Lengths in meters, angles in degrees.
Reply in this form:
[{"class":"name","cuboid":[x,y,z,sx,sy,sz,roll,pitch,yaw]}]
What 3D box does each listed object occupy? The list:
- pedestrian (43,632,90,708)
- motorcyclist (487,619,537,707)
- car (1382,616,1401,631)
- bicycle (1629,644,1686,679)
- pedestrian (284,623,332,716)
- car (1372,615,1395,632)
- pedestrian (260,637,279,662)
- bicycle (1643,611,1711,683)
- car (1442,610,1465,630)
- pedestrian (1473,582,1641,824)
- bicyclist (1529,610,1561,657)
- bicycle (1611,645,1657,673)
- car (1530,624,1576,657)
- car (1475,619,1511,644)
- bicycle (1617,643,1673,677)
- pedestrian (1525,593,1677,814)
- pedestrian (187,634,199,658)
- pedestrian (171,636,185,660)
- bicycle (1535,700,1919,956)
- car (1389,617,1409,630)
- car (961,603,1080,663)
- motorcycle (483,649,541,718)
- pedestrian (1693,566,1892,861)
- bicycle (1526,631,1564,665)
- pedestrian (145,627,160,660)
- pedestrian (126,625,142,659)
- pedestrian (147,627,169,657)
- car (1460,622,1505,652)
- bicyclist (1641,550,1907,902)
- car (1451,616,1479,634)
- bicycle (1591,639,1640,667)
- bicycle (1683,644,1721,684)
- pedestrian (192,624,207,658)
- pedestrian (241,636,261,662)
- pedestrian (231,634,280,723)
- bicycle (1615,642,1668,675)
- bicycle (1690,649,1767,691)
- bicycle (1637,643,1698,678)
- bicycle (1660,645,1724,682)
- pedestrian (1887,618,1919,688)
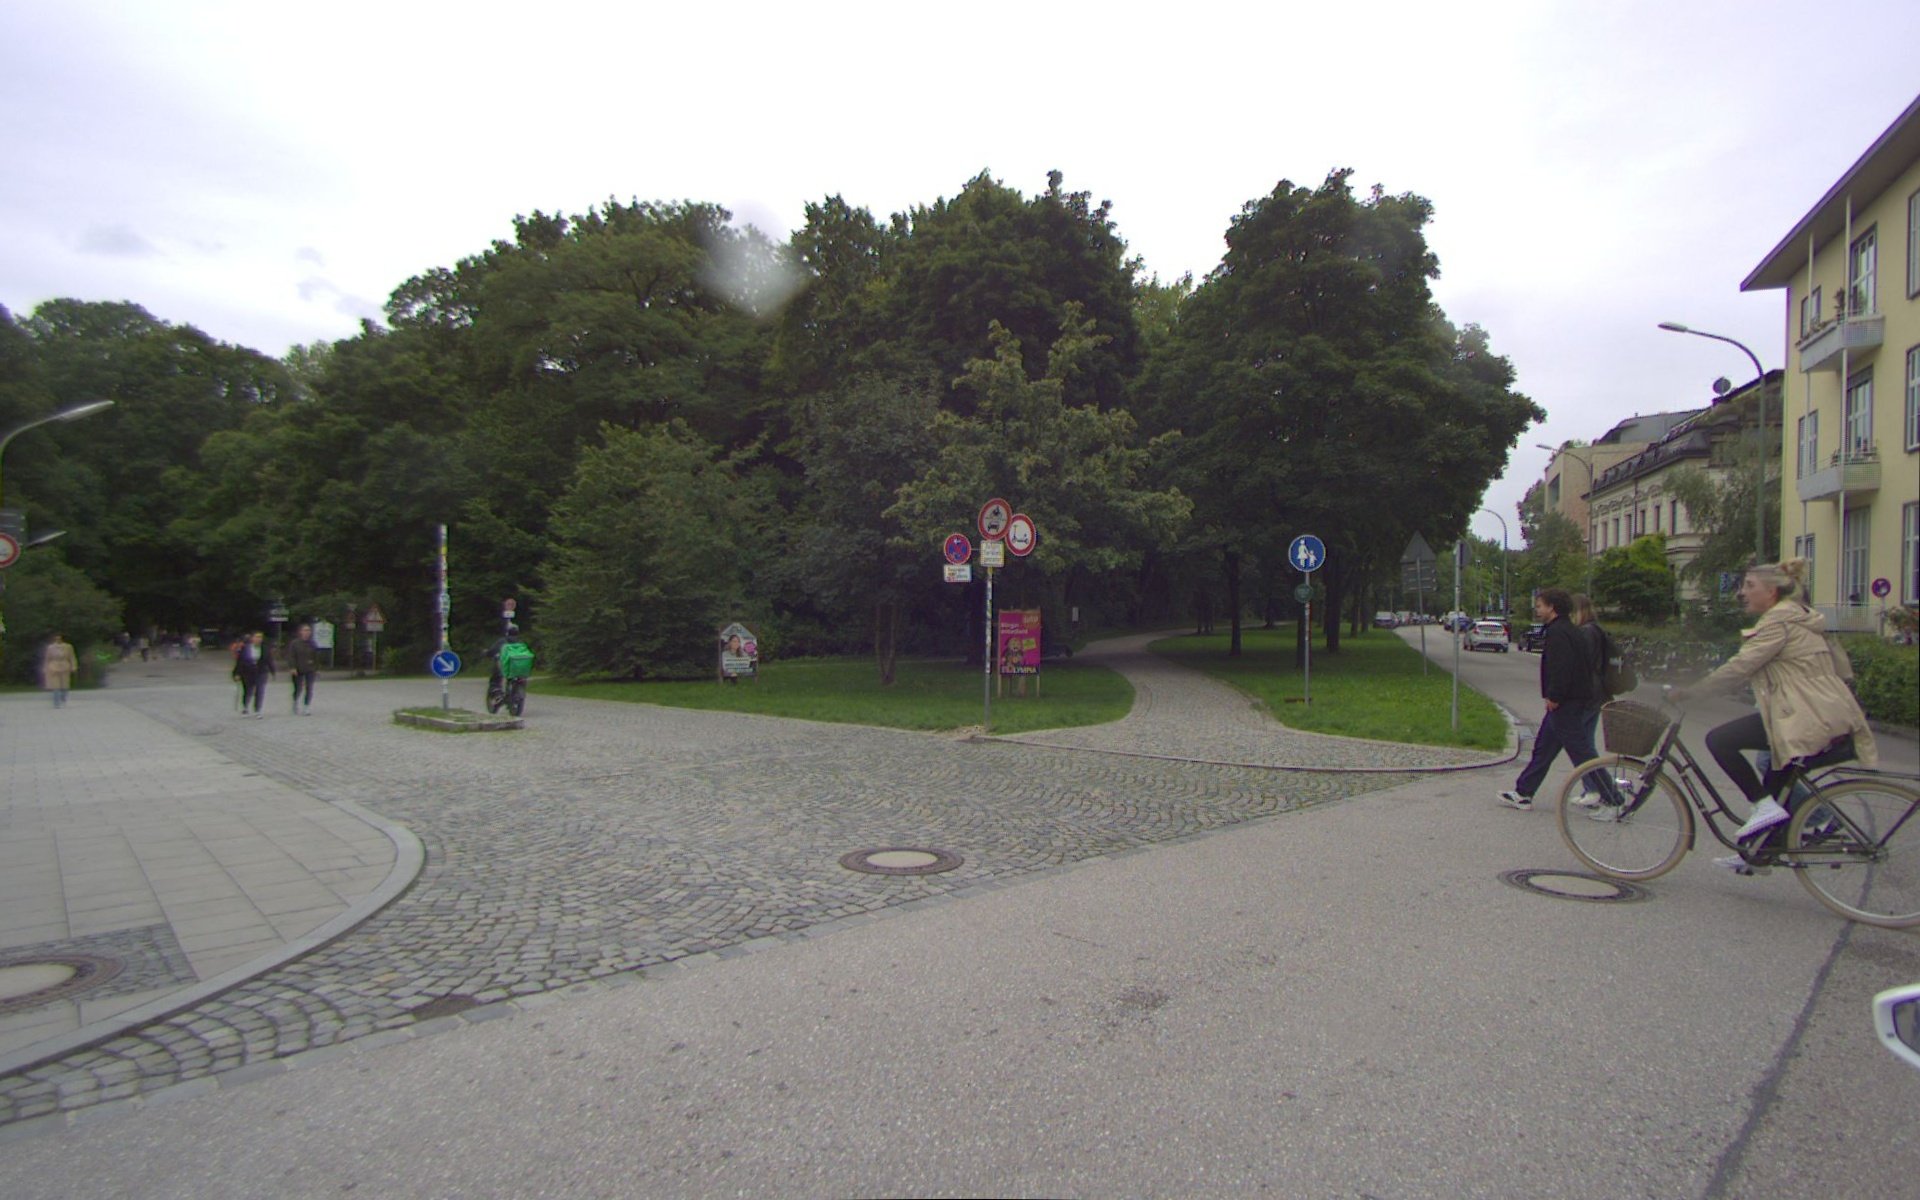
[{"class":"pedestrian","cuboid":[-21.327,1.653,23.973,1.096,1.728,0.745,0,-1,44]},{"class":"motorcyclist","cuboid":[-8.133,1.121,18.216,0.706,1.521,0.891,1,-1,-32]},{"class":"car","cuboid":[48.553,2.609,113.088,1.961,1.622,4.465,1,-1,23]},{"class":"bicycle","cuboid":[20.943,1.842,30.150,1.509,1.028,0.409,0,-1,-7]},{"class":"pedestrian","cuboid":[-12.530,1.314,19.297,0.655,1.720,0.742,1,-1,-41]},{"class":"car","cuboid":[41.373,2.318,98.151,1.961,1.622,4.465,1,-1,23]},{"class":"pedestrian","cuboid":[-46.777,3.348,68.051,0.720,1.674,0.880,-1,-1,30]},{"class":"bicycle","cuboid":[20.669,1.342,28.978,1.644,2.040,0.456,0,-1,-3]},{"class":"car","cuboid":[50.929,2.070,103.648,2.034,1.992,4.973,1,-1,25]},{"class":"pedestrian","cuboid":[4.851,0.792,8.201,0.652,1.833,0.985,1,-1,-30]},{"class":"bicyclist","cuboid":[23.008,1.298,39.520,0.899,1.787,1.215,1,-1,20]},{"class":"bicycle","cuboid":[24.810,2.162,36.987,1.509,1.028,0.409,0,-1,-7]},{"class":"car","cuboid":[30.389,2.063,51.551,1.621,1.579,3.557,0,-1,24]},{"class":"car","cuboid":[37.216,2.161,70.221,1.764,1.702,3.999,0,-1,21]},{"class":"bicycle","cuboid":[20.900,1.826,30.652,1.509,1.028,0.409,0,-1,-7]},{"class":"pedestrian","cuboid":[5.446,0.834,8.561,0.730,1.769,0.824,1,0,-24]},{"class":"pedestrian","cuboid":[-49.468,2.960,64.801,0.536,1.514,0.537,-1,-1,44]},{"class":"pedestrian","cuboid":[-49.947,3.032,64.163,0.620,1.514,0.659,-1,-1,44]},{"class":"bicycle","cuboid":[4.303,1.149,5.449,0.679,1.038,1.945,1,-1,-39]},{"class":"car","cuboid":[55.357,2.984,126.629,1.963,1.622,4.462,1,-1,27]},{"class":"car","cuboid":[2.128,1.176,35.711,3.930,2.040,1.784,1,-1,-12]},{"class":"motorcycle","cuboid":[-8.180,1.487,18.297,0.710,1.113,1.960,1,-1,-32]},{"class":"pedestrian","cuboid":[5.772,0.745,6.986,0.758,1.882,0.846,1,-2,-30]},{"class":"bicycle","cuboid":[22.996,1.874,39.510,0.906,1.269,2.321,0,-1,20]},{"class":"pedestrian","cuboid":[-50.069,2.668,62.264,0.692,2.040,0.709,0,-1,-43]},{"class":"pedestrian","cuboid":[-50.687,2.568,61.638,0.692,2.040,0.709,0,-1,-43]},{"class":"pedestrian","cuboid":[-56.308,2.931,70.526,1.131,2.040,1.047,-1,-1,41]},{"class":"car","cuboid":[26.019,1.807,50.120,1.720,1.425,3.725,1,-1,24]},{"class":"bicyclist","cuboid":[4.356,0.608,5.399,0.690,1.678,0.995,1,-1,-40]},{"class":"car","cuboid":[47.689,2.347,94.835,1.961,1.622,4.253,1,-1,22]},{"class":"bicycle","cuboid":[24.662,1.995,37.822,1.506,1.028,0.410,0,-1,7]},{"class":"bicycle","cuboid":[20.263,1.742,27.427,1.522,1.028,0.363,1,-1,-35]},{"class":"pedestrian","cuboid":[-47.496,2.553,62.734,0.692,2.040,0.709,0,-1,-43]},{"class":"pedestrian","cuboid":[-45.872,3.165,65.018,0.868,1.674,0.730,0,-1,-18]},{"class":"pedestrian","cuboid":[-13.121,1.439,18.698,0.686,1.602,0.743,1,-1,-39]},{"class":"bicycle","cuboid":[21.850,1.864,32.224,1.509,1.028,0.409,0,-1,-7]},{"class":"bicycle","cuboid":[19.580,1.770,25.606,1.508,1.028,0.367,-1,-1,22]},{"class":"bicycle","cuboid":[20.852,1.784,29.612,1.508,1.028,0.409,0,-1,-3]},{"class":"bicycle","cuboid":[20.742,1.786,28.479,1.507,1.028,0.367,0,-1,2]},{"class":"pedestrian","cuboid":[23.265,1.286,24.664,0.622,1.706,0.696,-1,-1,33]}]
